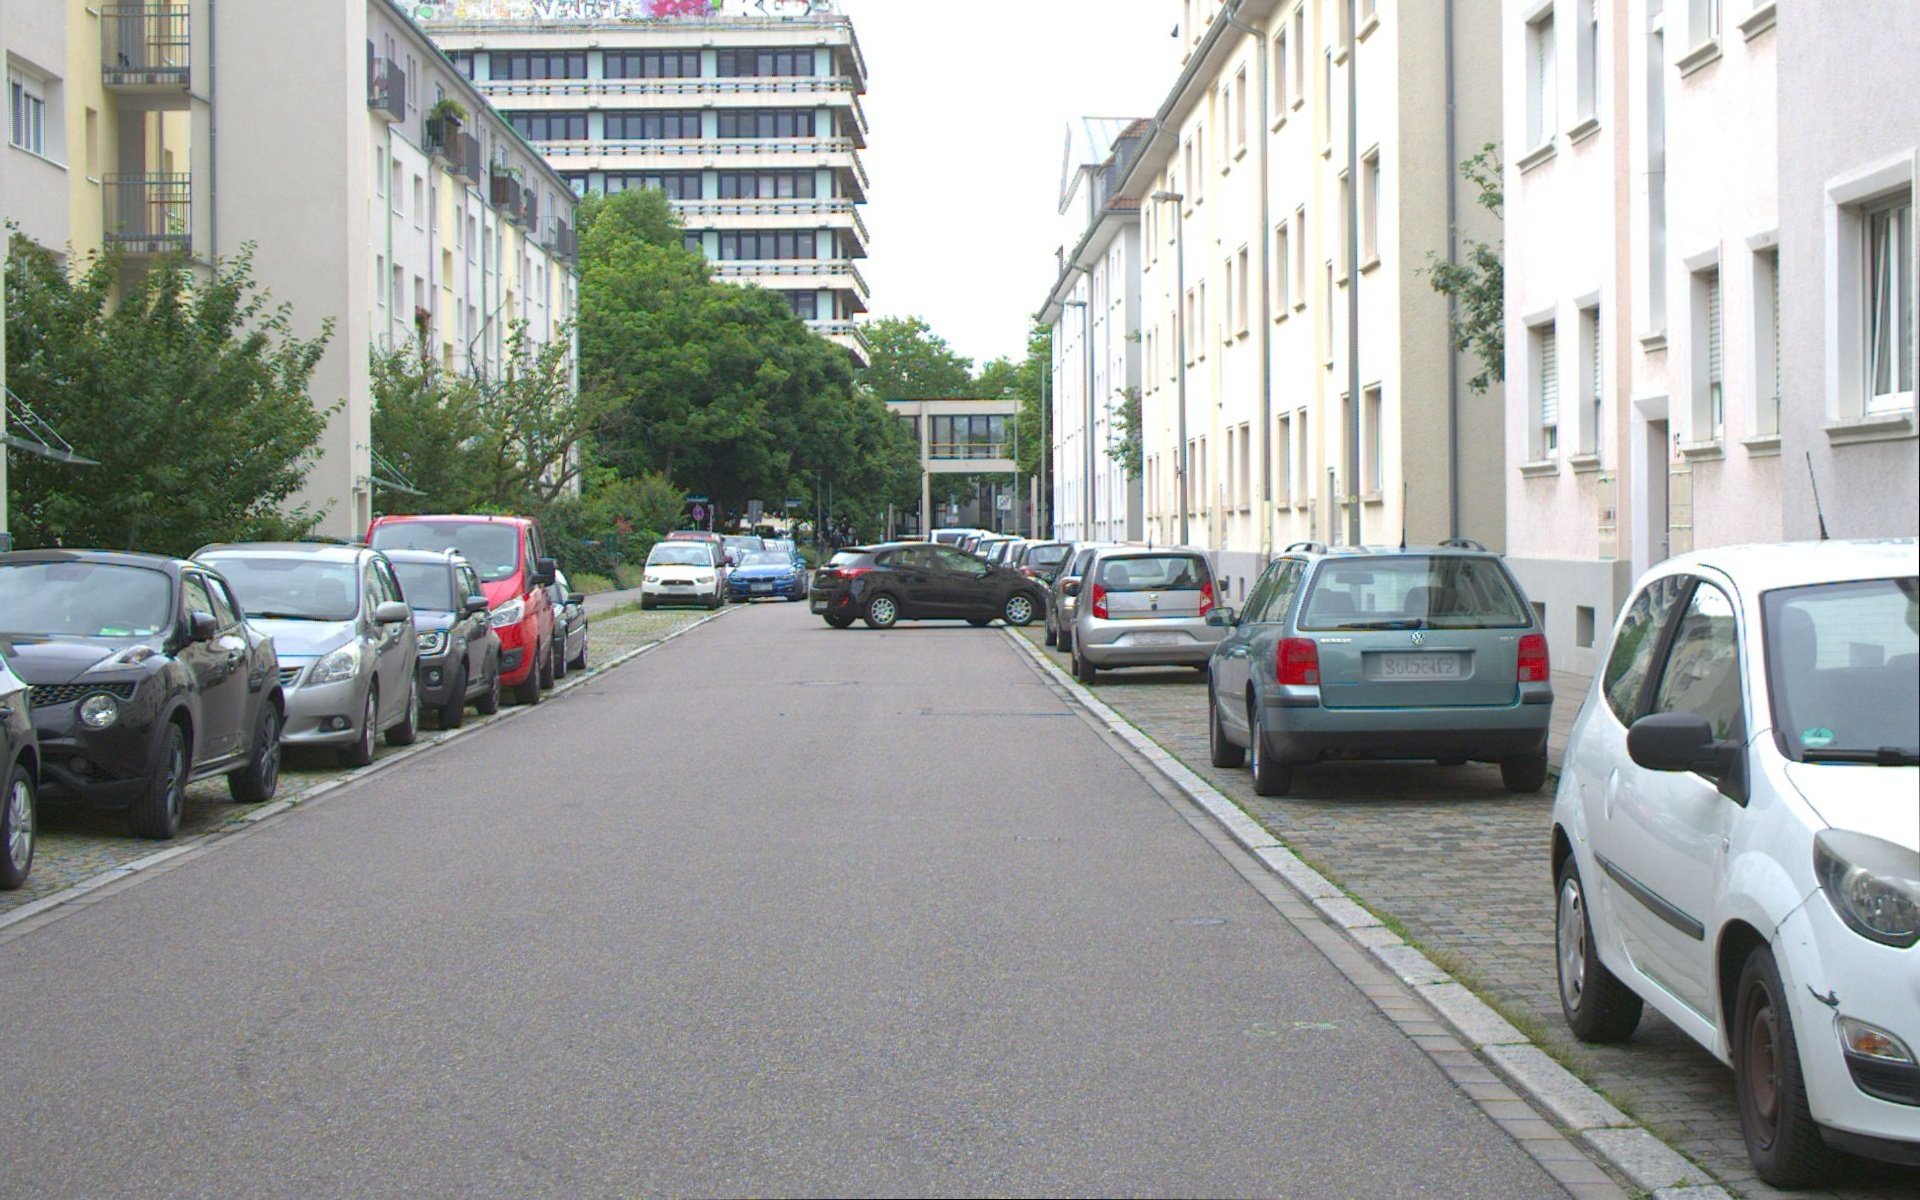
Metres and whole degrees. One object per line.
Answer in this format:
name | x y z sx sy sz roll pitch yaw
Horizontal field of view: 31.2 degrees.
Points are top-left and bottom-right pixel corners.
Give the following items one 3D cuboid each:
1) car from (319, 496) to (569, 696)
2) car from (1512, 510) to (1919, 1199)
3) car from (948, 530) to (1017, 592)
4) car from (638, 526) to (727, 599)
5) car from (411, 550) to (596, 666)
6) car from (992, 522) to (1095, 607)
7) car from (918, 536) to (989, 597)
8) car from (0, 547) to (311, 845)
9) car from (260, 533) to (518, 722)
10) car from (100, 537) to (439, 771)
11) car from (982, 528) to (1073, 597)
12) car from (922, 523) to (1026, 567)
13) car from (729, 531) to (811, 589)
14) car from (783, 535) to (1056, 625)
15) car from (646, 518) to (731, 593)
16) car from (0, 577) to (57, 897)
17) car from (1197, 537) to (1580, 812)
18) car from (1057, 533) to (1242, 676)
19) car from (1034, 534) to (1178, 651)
car | -5.404 -0.096 36.611 2.151 1.947 4.923 1 1 -3
car | 2.650 0.568 8.980 1.783 1.593 3.805 -1 1 0
car | 0.604 -1.074 93.941 1.820 1.636 4.091 0 1 0
car | -6.218 -0.862 77.321 1.720 1.564 3.871 1 1 -1
car | -5.607 0.062 42.673 1.870 1.319 4.362 1 1 -2
car | 1.554 -0.705 64.979 1.725 1.512 4.061 -1 1 -1
car | -0.181 -0.863 86.549 1.725 1.471 4.505 0 1 -1
car | -5.068 0.482 20.250 1.653 1.525 3.895 1 1 1
car | -5.134 0.198 31.371 1.720 1.564 4.054 1 1 -1
car | -5.144 0.330 26.214 1.834 1.564 4.863 1 1 -3
car | 1.454 -0.833 75.228 1.848 1.445 3.833 0 1 -1
car | 0.586 -2.414 150.143 4.320 1.784 1.863 -1 1 -7
car | -4.878 -1.050 88.626 1.845 1.446 4.501 0 1 0
car | -0.692 -0.360 58.539 4.218 1.428 1.910 -2 1 -26
car | -6.549 -1.096 83.234 1.956 1.764 4.362 0 1 -3
car | -5.147 0.636 14.604 1.643 1.433 3.857 1 1 -1
car | 2.529 0.374 21.238 1.725 1.464 4.265 -1 1 -1
car | 2.035 0.004 37.914 1.725 1.487 4.061 0 1 -1
car | 2.007 -0.138 48.096 1.725 1.512 4.061 -1 1 -1
